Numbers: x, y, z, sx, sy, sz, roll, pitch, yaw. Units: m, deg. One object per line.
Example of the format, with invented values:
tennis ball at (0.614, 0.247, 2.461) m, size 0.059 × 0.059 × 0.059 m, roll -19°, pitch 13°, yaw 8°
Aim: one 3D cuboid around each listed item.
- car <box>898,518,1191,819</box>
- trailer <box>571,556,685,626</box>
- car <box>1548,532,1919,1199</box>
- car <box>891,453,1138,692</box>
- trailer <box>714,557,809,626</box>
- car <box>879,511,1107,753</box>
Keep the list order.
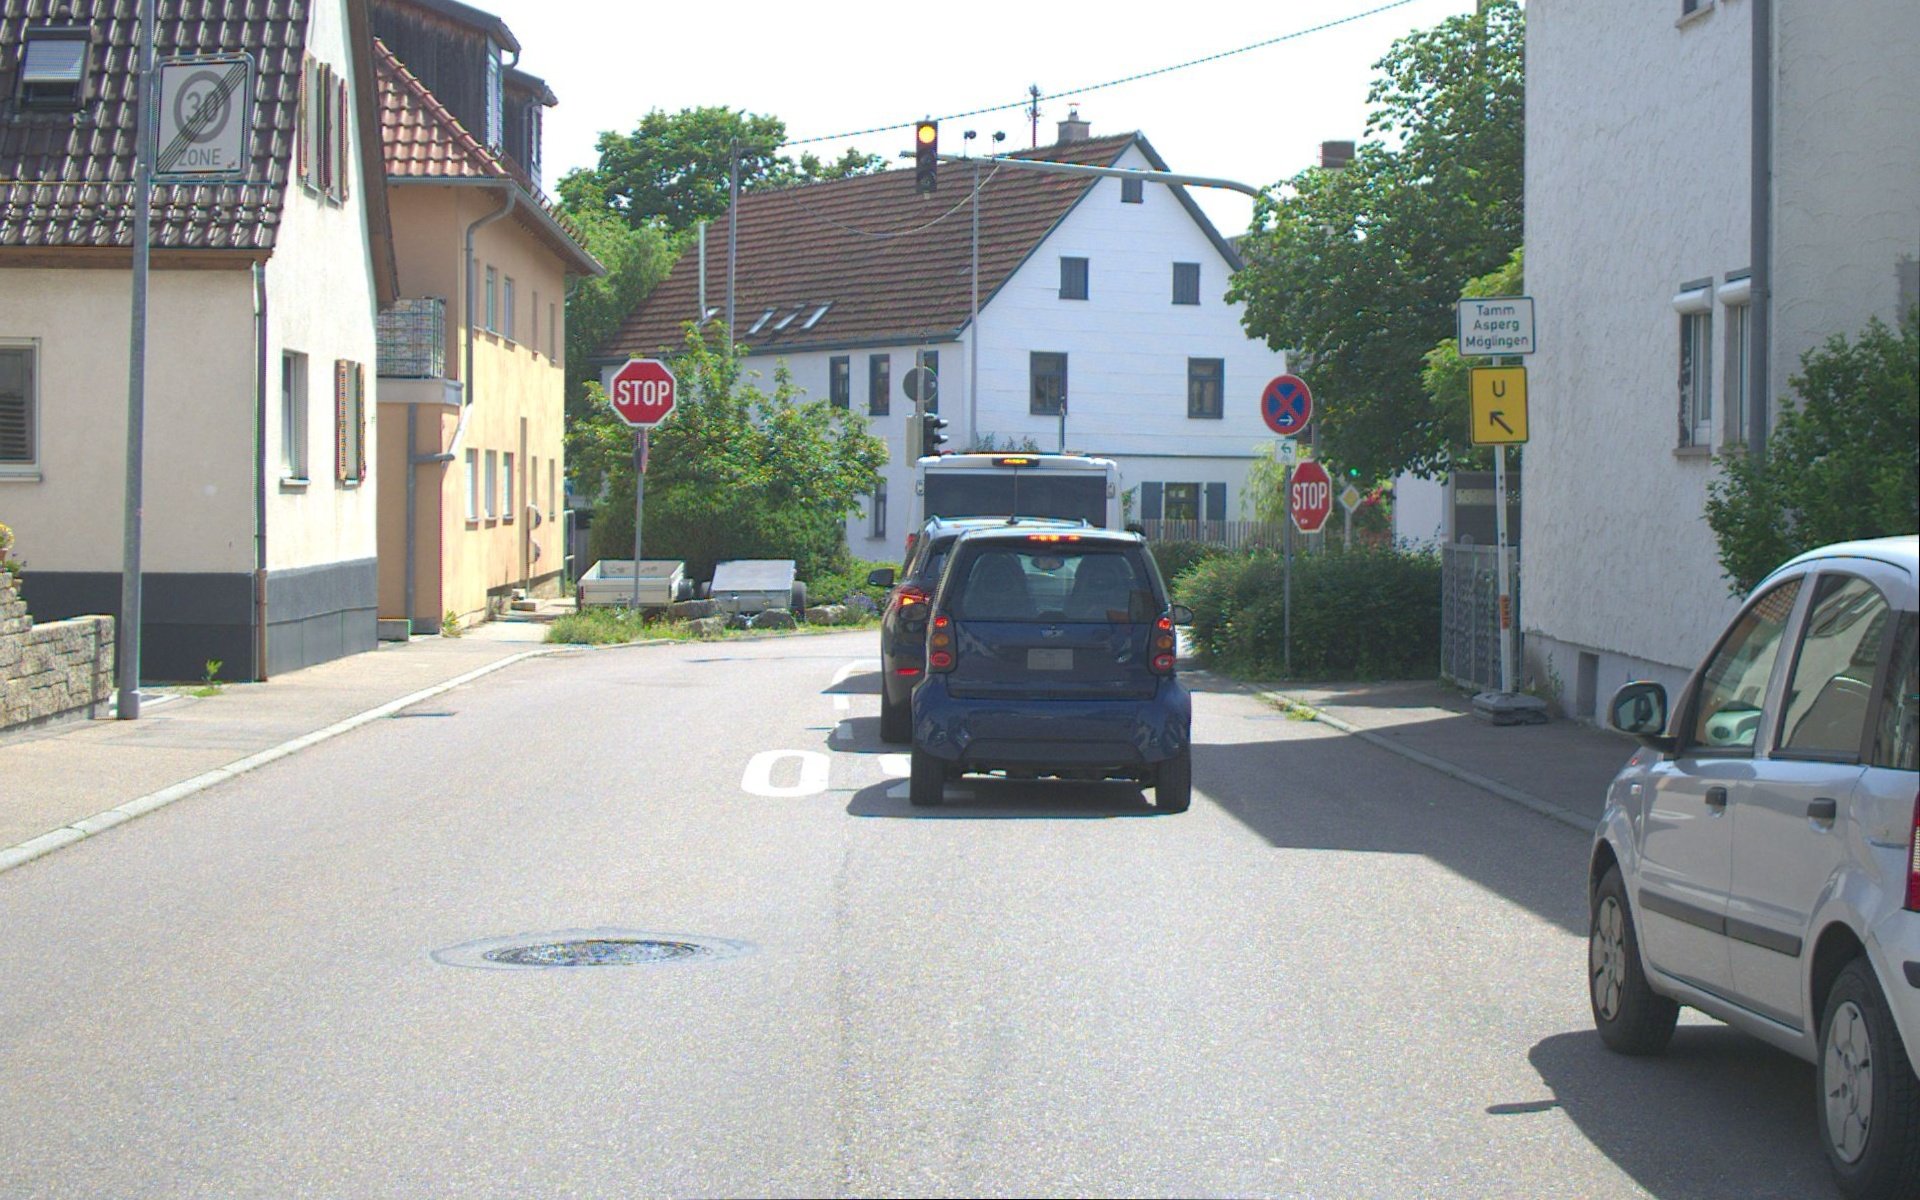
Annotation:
car at (0.496, 0.330, 19.937) m, size 1.516 × 1.561 × 3.184 m, roll 2°, pitch 1°, yaw 2°
trailer at (-4.769, -0.133, 49.476) m, size 1.501 × 0.924 × 1.012 m, roll 3°, pitch 1°, yaw 0°
car at (2.654, 0.597, 8.908) m, size 1.498 × 1.508 × 3.362 m, roll 1°, pitch 1°, yaw -3°
car at (0.617, -0.301, 33.760) m, size 2.129 × 2.151 × 4.736 m, roll 1°, pitch 1°, yaw 4°
trailer at (-2.852, -0.124, 49.565) m, size 1.311 × 0.967 × 0.933 m, roll 1°, pitch 1°, yaw 0°
car at (0.266, 0.181, 24.677) m, size 1.516 × 1.619 × 3.184 m, roll 0°, pitch 1°, yaw 2°
